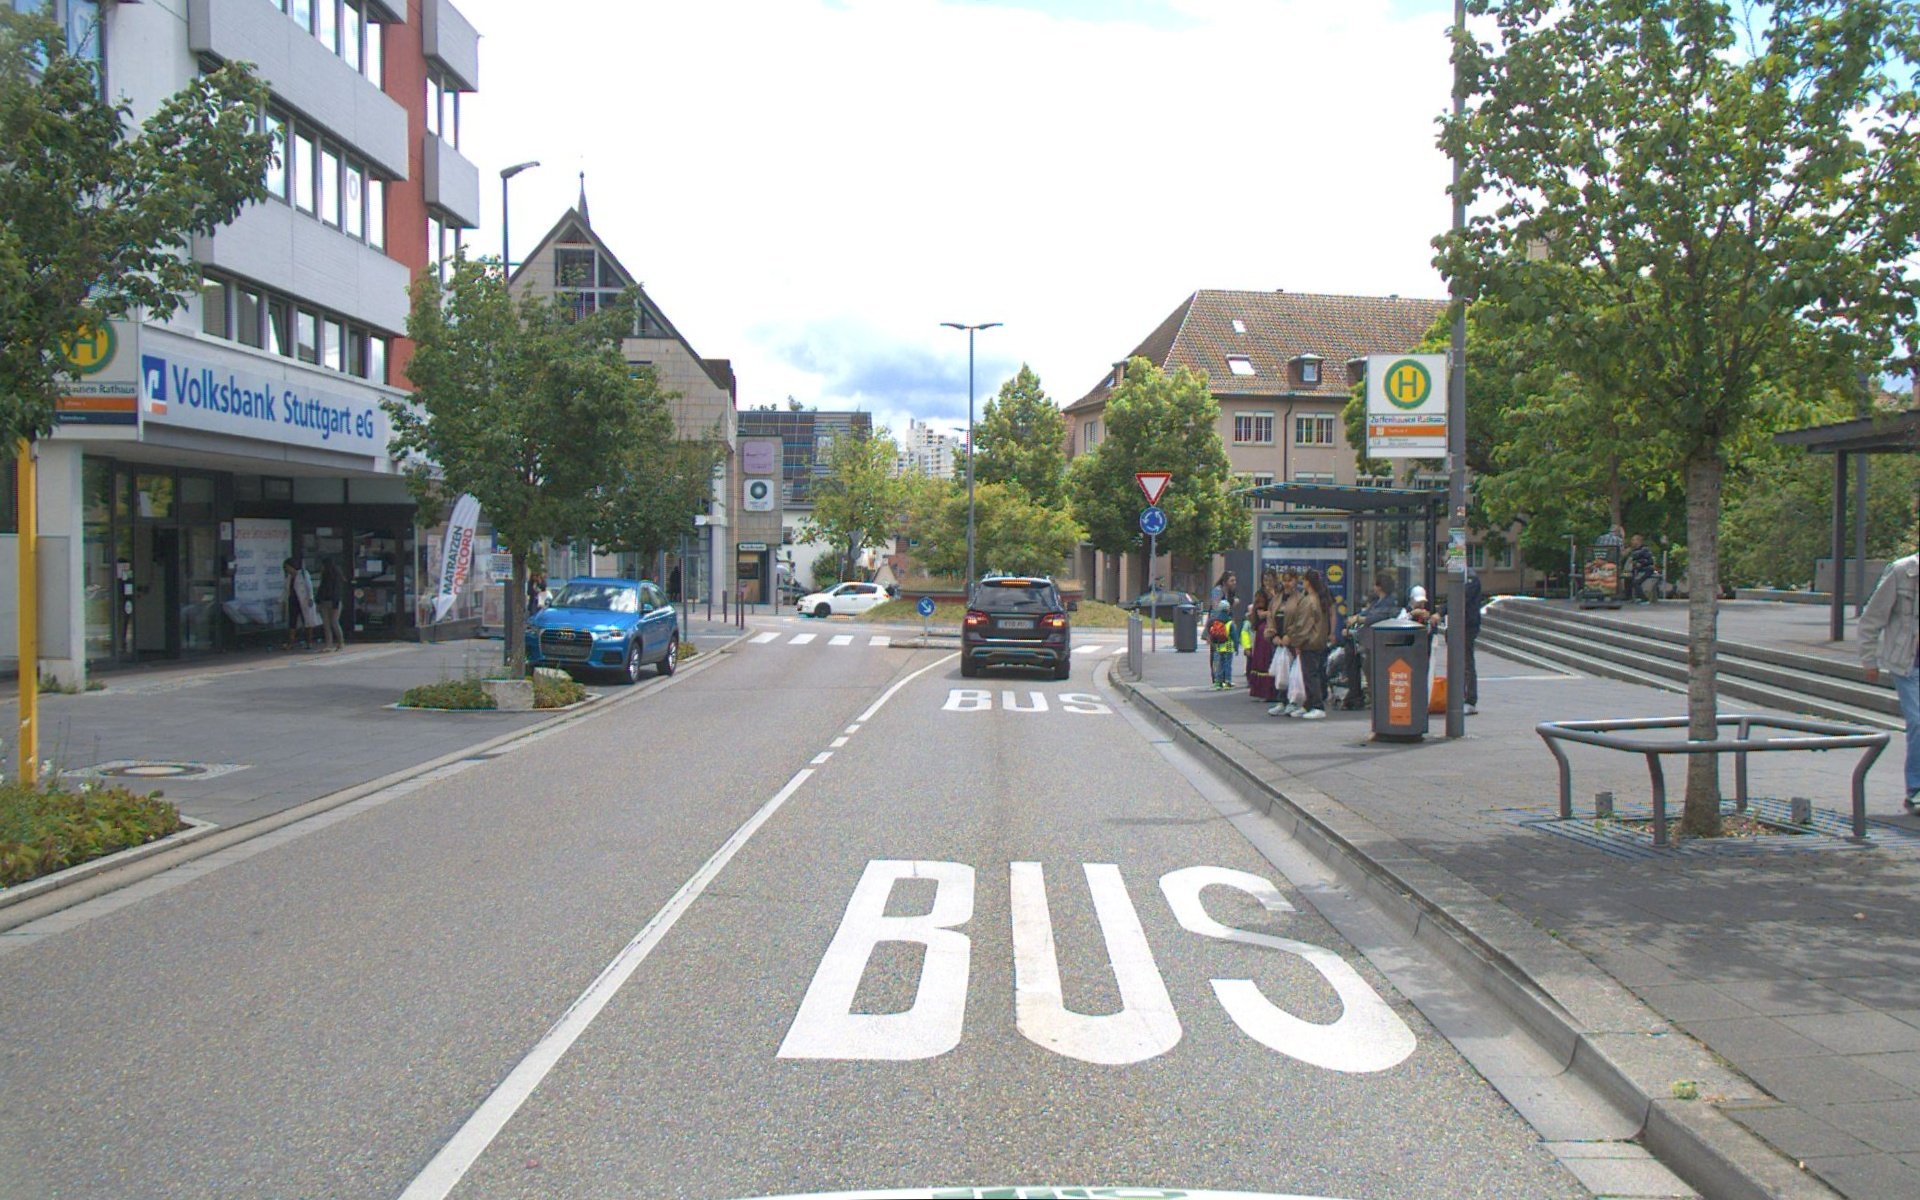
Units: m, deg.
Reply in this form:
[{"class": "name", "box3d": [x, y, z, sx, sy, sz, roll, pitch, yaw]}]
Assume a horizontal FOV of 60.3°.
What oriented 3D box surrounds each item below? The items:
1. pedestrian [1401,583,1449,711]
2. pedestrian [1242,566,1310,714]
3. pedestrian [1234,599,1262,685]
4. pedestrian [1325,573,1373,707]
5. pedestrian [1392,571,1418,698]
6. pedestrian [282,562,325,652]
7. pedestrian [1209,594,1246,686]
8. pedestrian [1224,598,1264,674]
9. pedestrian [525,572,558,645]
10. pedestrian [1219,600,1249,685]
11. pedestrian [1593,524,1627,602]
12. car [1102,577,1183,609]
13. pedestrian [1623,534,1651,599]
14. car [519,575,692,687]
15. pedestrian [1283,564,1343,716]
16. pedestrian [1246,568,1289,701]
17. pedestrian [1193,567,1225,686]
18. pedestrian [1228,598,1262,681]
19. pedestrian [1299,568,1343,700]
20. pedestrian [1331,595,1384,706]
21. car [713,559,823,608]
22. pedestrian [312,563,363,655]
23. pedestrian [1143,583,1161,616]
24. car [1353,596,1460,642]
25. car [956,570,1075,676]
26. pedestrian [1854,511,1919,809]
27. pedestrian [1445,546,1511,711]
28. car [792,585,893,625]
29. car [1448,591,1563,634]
[{"class": "pedestrian", "box3d": [4.928, 0.494, 17.539, 0.381, 1.329, 0.355, -2, 0, 2]}, {"class": "pedestrian", "box3d": [3.430, 0.424, 17.943, 0.535, 1.576, 0.483, -1, 0, 44]}, {"class": "pedestrian", "box3d": [4.019, 0.582, 23.073, 0.291, 1.172, 0.293, -2, 0, -1]}, {"class": "pedestrian", "box3d": [4.342, 0.444, 18.475, 0.370, 1.467, 0.415, -2, 0, -6]}, {"class": "pedestrian", "box3d": [5.270, 0.405, 19.590, 0.268, 1.484, 0.320, -1, 0, 13]}, {"class": "pedestrian", "box3d": [-11.793, 0.118, 29.730, 0.499, 1.594, 0.586, -1, 0, 1]}, {"class": "pedestrian", "box3d": [3.657, 0.544, 22.605, 0.394, 1.247, 0.388, -1, 0, 22]}, {"class": "pedestrian", "box3d": [4.572, 0.583, 26.598, 0.467, 1.192, 0.389, -2, 0, 38]}, {"class": "pedestrian", "box3d": [-9.404, 0.181, 37.165, 0.575, 1.616, 0.638, 1, 0, -5]}, {"class": "pedestrian", "box3d": [3.851, 0.595, 23.254, 0.261, 1.181, 0.267, -2, 0, -36]}, {"class": "pedestrian", "box3d": [13.006, -0.742, 33.111, 0.492, 1.534, 0.454, 0, 1, -3]}, {"class": "car", "box3d": [9.350, -0.341, 84.836, 3.817, 1.558, 1.648, -1, 0, -22]}, {"class": "pedestrian", "box3d": [13.656, -0.680, 33.366, 0.355, 1.308, 0.642, 0, 1, 5]}, {"class": "car", "box3d": [-5.754, 0.456, 27.362, 1.659, 1.627, 4.333, 3, 0, 3]}, {"class": "pedestrian", "box3d": [3.740, 0.417, 17.503, 0.503, 1.576, 0.487, -1, 0, 27]}, {"class": "pedestrian", "box3d": [3.737, 0.413, 20.083, 0.485, 1.593, 0.502, -1, 0, 12]}, {"class": "pedestrian", "box3d": [3.494, 0.368, 23.177, 0.378, 1.648, 0.469, -2, 0, 11]}, {"class": "pedestrian", "box3d": [4.058, 0.562, 23.589, 0.315, 1.172, 0.317, -2, 0, -39]}, {"class": "pedestrian", "box3d": [4.410, 0.408, 20.203, 0.387, 1.593, 0.350, -1, 0, 38]}, {"class": "pedestrian", "box3d": [4.573, 0.569, 19.041, 0.370, 1.232, 0.633, -2, 0, -6]}, {"class": "car", "box3d": [-11.433, -0.949, 98.527, 6.194, 2.605, 2.192, 2, -3, -21]}, {"class": "pedestrian", "box3d": [-10.983, 0.152, 29.201, 0.629, 1.594, 0.586, -1, 0, 1]}, {"class": "pedestrian", "box3d": [9.365, -0.038, 80.482, 0.569, 1.549, 0.632, -1, 5, -31]}, {"class": "car", "box3d": [14.683, 0.605, 54.256, 3.803, 1.407, 1.589, 0, 1, -42]}, {"class": "car", "box3d": [1.044, 0.446, 29.957, 1.985, 1.758, 4.434, 1, -2, 3]}, {"class": "pedestrian", "box3d": [5.785, 0.342, 9.793, 0.670, 1.711, 0.715, 0, 0, 11]}, {"class": "pedestrian", "box3d": [5.488, 0.298, 17.532, 0.501, 1.710, 0.576, -1, 0, 0]}, {"class": "car", "box3d": [-4.794, 0.186, 67.534, 3.817, 1.558, 1.648, -1, 0, -22]}, {"class": "car", "box3d": [21.276, 0.476, 64.698, 4.164, 1.604, 1.850, -1, 0, 16]}]
